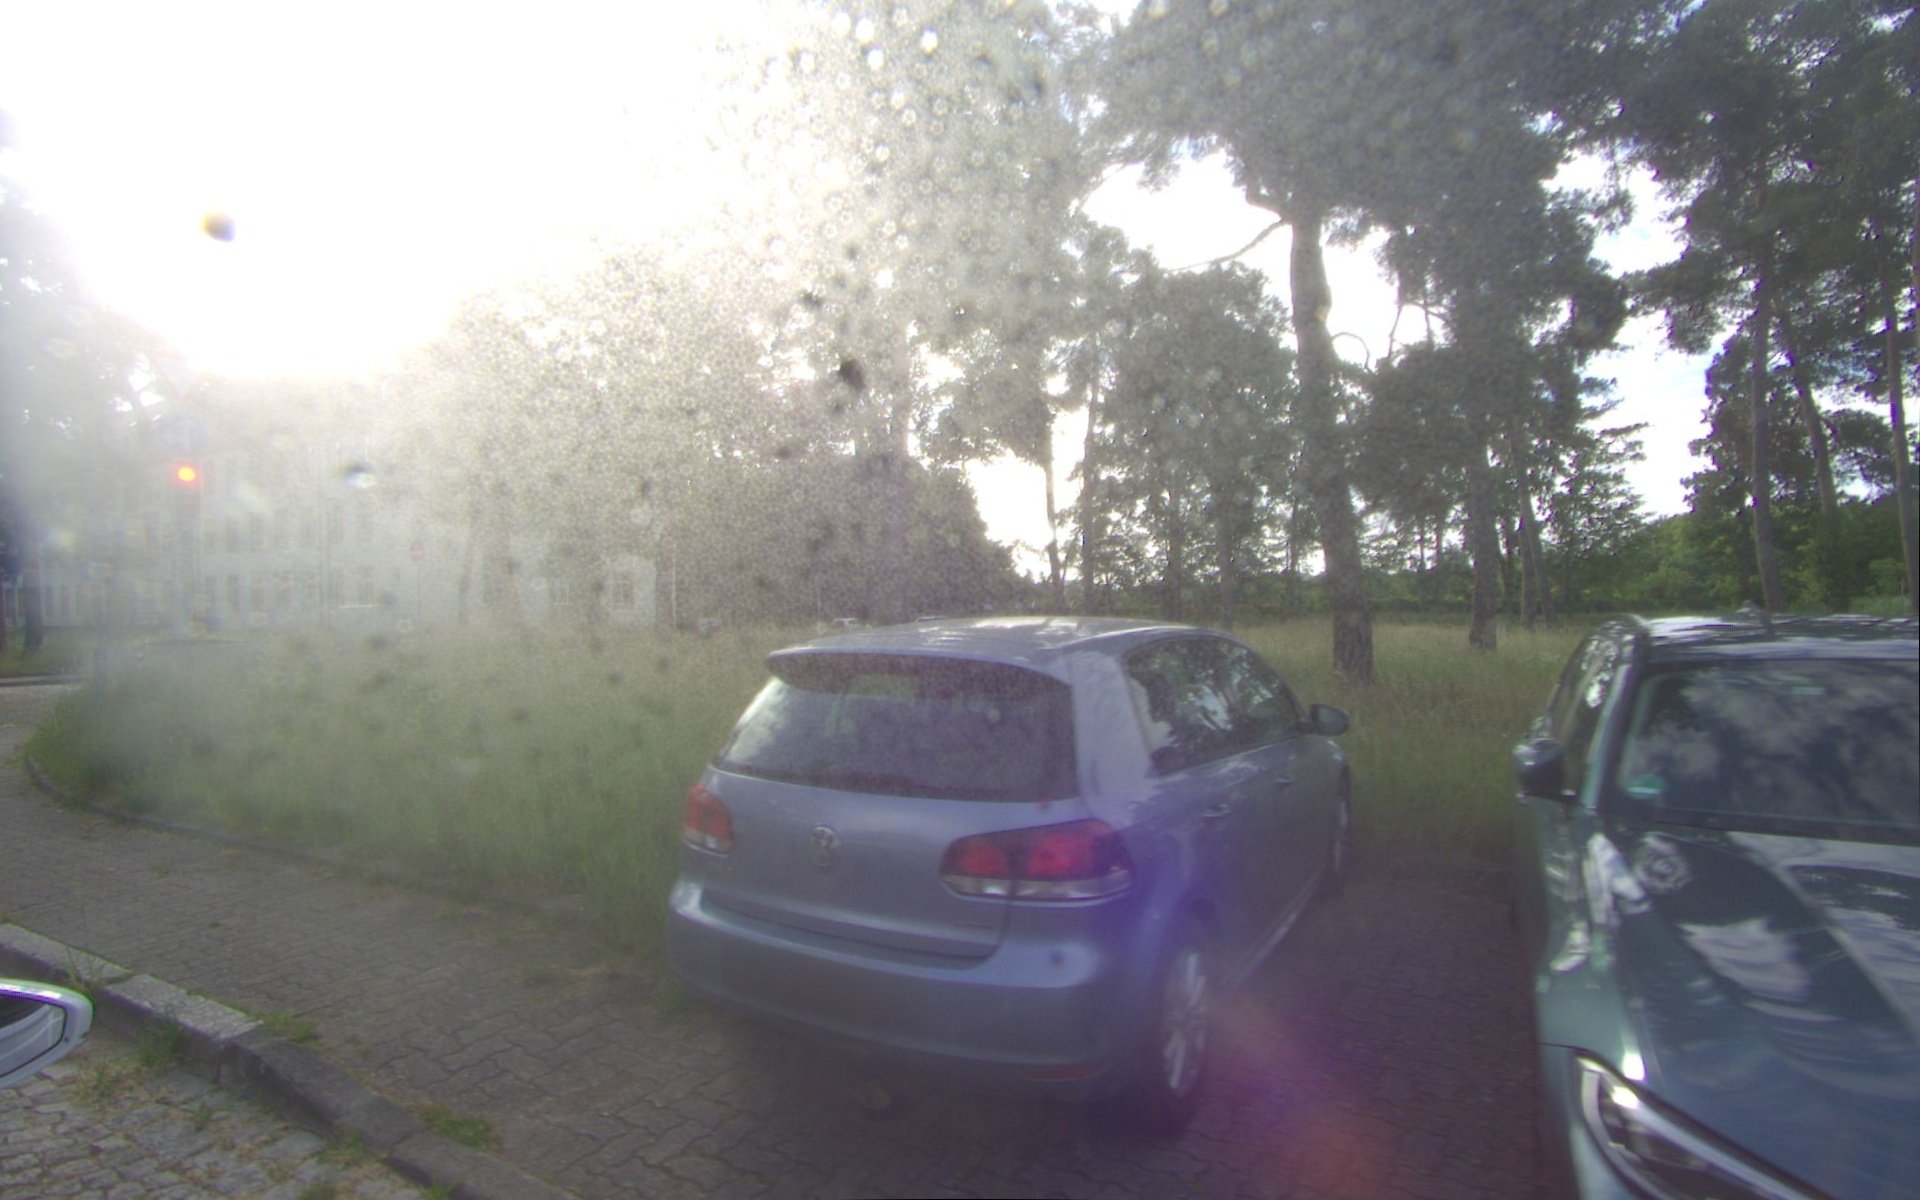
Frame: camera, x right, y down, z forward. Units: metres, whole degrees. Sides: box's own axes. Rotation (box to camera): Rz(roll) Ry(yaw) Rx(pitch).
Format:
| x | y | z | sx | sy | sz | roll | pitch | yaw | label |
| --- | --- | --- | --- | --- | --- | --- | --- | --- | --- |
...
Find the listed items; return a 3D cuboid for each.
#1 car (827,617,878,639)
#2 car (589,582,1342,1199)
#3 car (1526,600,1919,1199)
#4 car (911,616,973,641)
| x | y | z | sx | sy | sz | roll | pitch | yaw | label |
| --- | --- | --- | --- | --- | --- | --- | --- | --- | --- |
| -7.656 | 2.010 | 71.421 | 1.541 | 1.415 | 3.983 | -1 | -3 | 31 | car |
| 0.506 | 0.739 | 4.311 | 1.617 | 1.490 | 3.839 | 0 | -1 | 29 | car |
| 2.777 | 0.769 | 3.031 | 1.780 | 1.502 | 4.509 | 0 | -1 | 29 | car |
| -1.228 | 1.850 | 66.117 | 3.923 | 1.621 | 2.000 | 0 | 0 | -6 | car |
